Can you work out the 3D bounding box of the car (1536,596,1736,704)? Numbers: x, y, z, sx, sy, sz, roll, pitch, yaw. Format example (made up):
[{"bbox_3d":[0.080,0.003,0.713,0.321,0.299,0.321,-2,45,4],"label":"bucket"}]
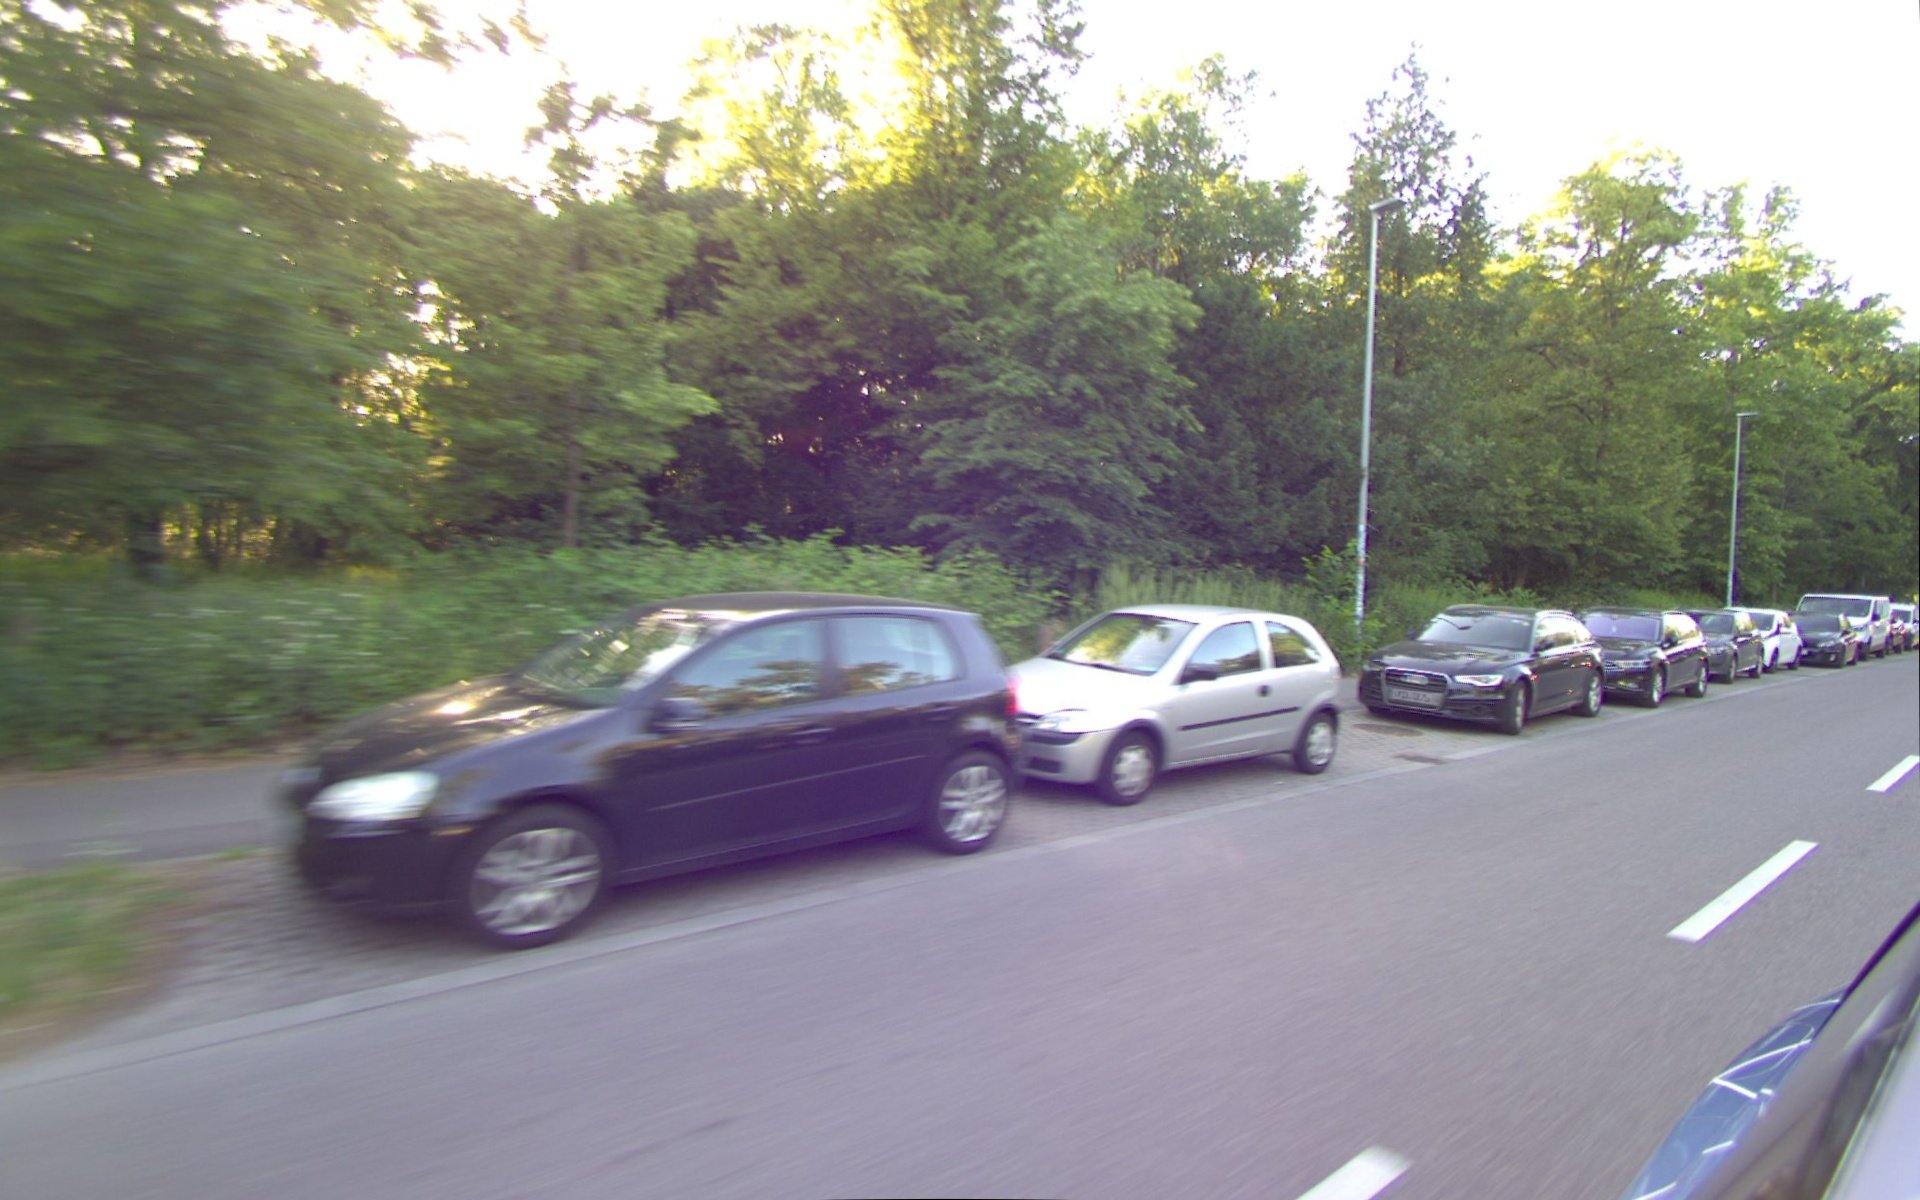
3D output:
[{"bbox_3d":[11.393,0.718,16.910,4.814,1.471,1.640,0,3,-43],"label":"car"}]

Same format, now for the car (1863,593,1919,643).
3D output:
[{"bbox_3d":[37.270,0.667,40.043,4.657,1.826,1.762,0,3,-42],"label":"car"}]

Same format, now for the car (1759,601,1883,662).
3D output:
[{"bbox_3d":[23.411,0.785,27.466,4.292,1.423,1.873,0,3,-41],"label":"car"}]

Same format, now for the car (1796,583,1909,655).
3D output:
[{"bbox_3d":[28.100,0.532,31.789,5.378,2.005,1.873,0,3,-41],"label":"car"}]

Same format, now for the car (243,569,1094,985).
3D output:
[{"bbox_3d":[-1.371,0.626,5.771,4.310,1.471,1.778,0,3,-40],"label":"car"}]

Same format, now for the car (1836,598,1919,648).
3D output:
[{"bbox_3d":[32.685,0.765,35.920,4.351,1.566,1.763,0,3,-41],"label":"car"}]

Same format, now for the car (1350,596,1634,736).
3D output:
[{"bbox_3d":[7.301,0.730,13.621,4.952,1.471,1.777,0,3,-42],"label":"car"}]

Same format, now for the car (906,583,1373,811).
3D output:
[{"bbox_3d":[1.666,0.649,8.755,3.940,1.471,1.779,0,3,-38],"label":"car"}]

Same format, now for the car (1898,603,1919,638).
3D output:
[{"bbox_3d":[44.807,0.954,46.831,3.123,1.513,1.590,0,3,-40],"label":"car"}]

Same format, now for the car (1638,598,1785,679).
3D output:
[{"bbox_3d":[15.799,0.732,21.215,3.873,1.471,1.589,0,3,-40],"label":"car"}]

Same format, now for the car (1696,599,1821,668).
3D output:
[{"bbox_3d":[19.379,0.756,24.521,3.730,1.471,1.590,0,3,-40],"label":"car"}]
